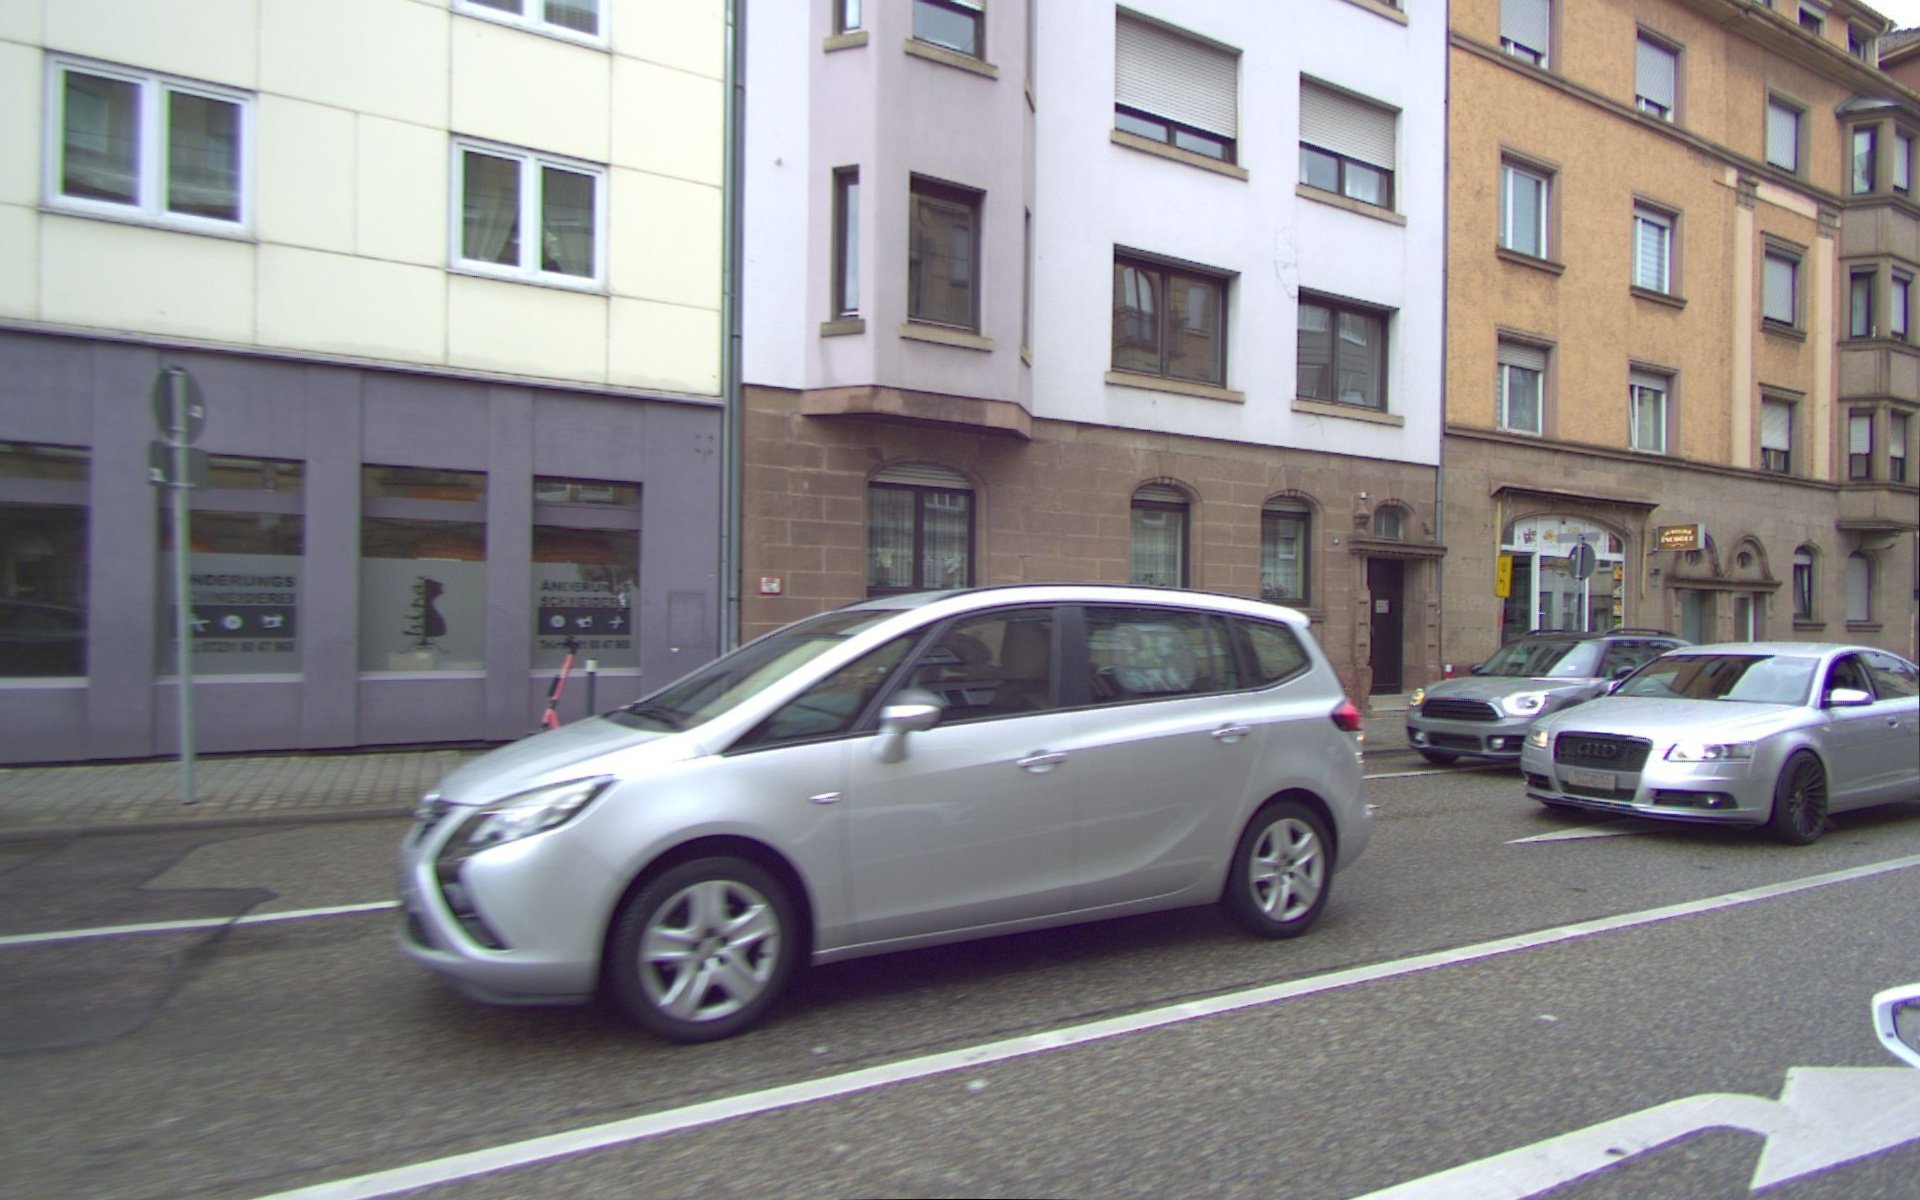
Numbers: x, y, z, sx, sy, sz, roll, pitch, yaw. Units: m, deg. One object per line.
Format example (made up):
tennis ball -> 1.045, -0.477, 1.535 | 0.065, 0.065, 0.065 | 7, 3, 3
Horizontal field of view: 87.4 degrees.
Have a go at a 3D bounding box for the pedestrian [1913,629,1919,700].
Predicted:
pedestrian -> 23.848, 1.592, 24.440 | 0.846, 1.701, 0.835 | 2, 0, -40

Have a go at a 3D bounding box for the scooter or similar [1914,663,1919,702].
scooter or similar -> 23.367, 1.991, 24.049 | 0.476, 0.937, 0.706 | 2, 0, -40

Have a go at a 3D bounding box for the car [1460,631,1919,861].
car -> 6.533, 1.045, 8.465 | 4.503, 1.489, 1.935 | 2, -2, -28

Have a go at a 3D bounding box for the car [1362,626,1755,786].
car -> 7.119, 1.172, 11.953 | 4.279, 1.616, 1.976 | 2, -2, -25

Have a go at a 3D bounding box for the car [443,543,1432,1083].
car -> 0.001, 0.730, 4.925 | 4.465, 1.604, 1.935 | 2, -2, -28

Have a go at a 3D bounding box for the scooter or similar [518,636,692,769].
scooter or similar -> -3.550, 1.004, 10.076 | 1.559, 1.230, 0.459 | 2, 2, -29
